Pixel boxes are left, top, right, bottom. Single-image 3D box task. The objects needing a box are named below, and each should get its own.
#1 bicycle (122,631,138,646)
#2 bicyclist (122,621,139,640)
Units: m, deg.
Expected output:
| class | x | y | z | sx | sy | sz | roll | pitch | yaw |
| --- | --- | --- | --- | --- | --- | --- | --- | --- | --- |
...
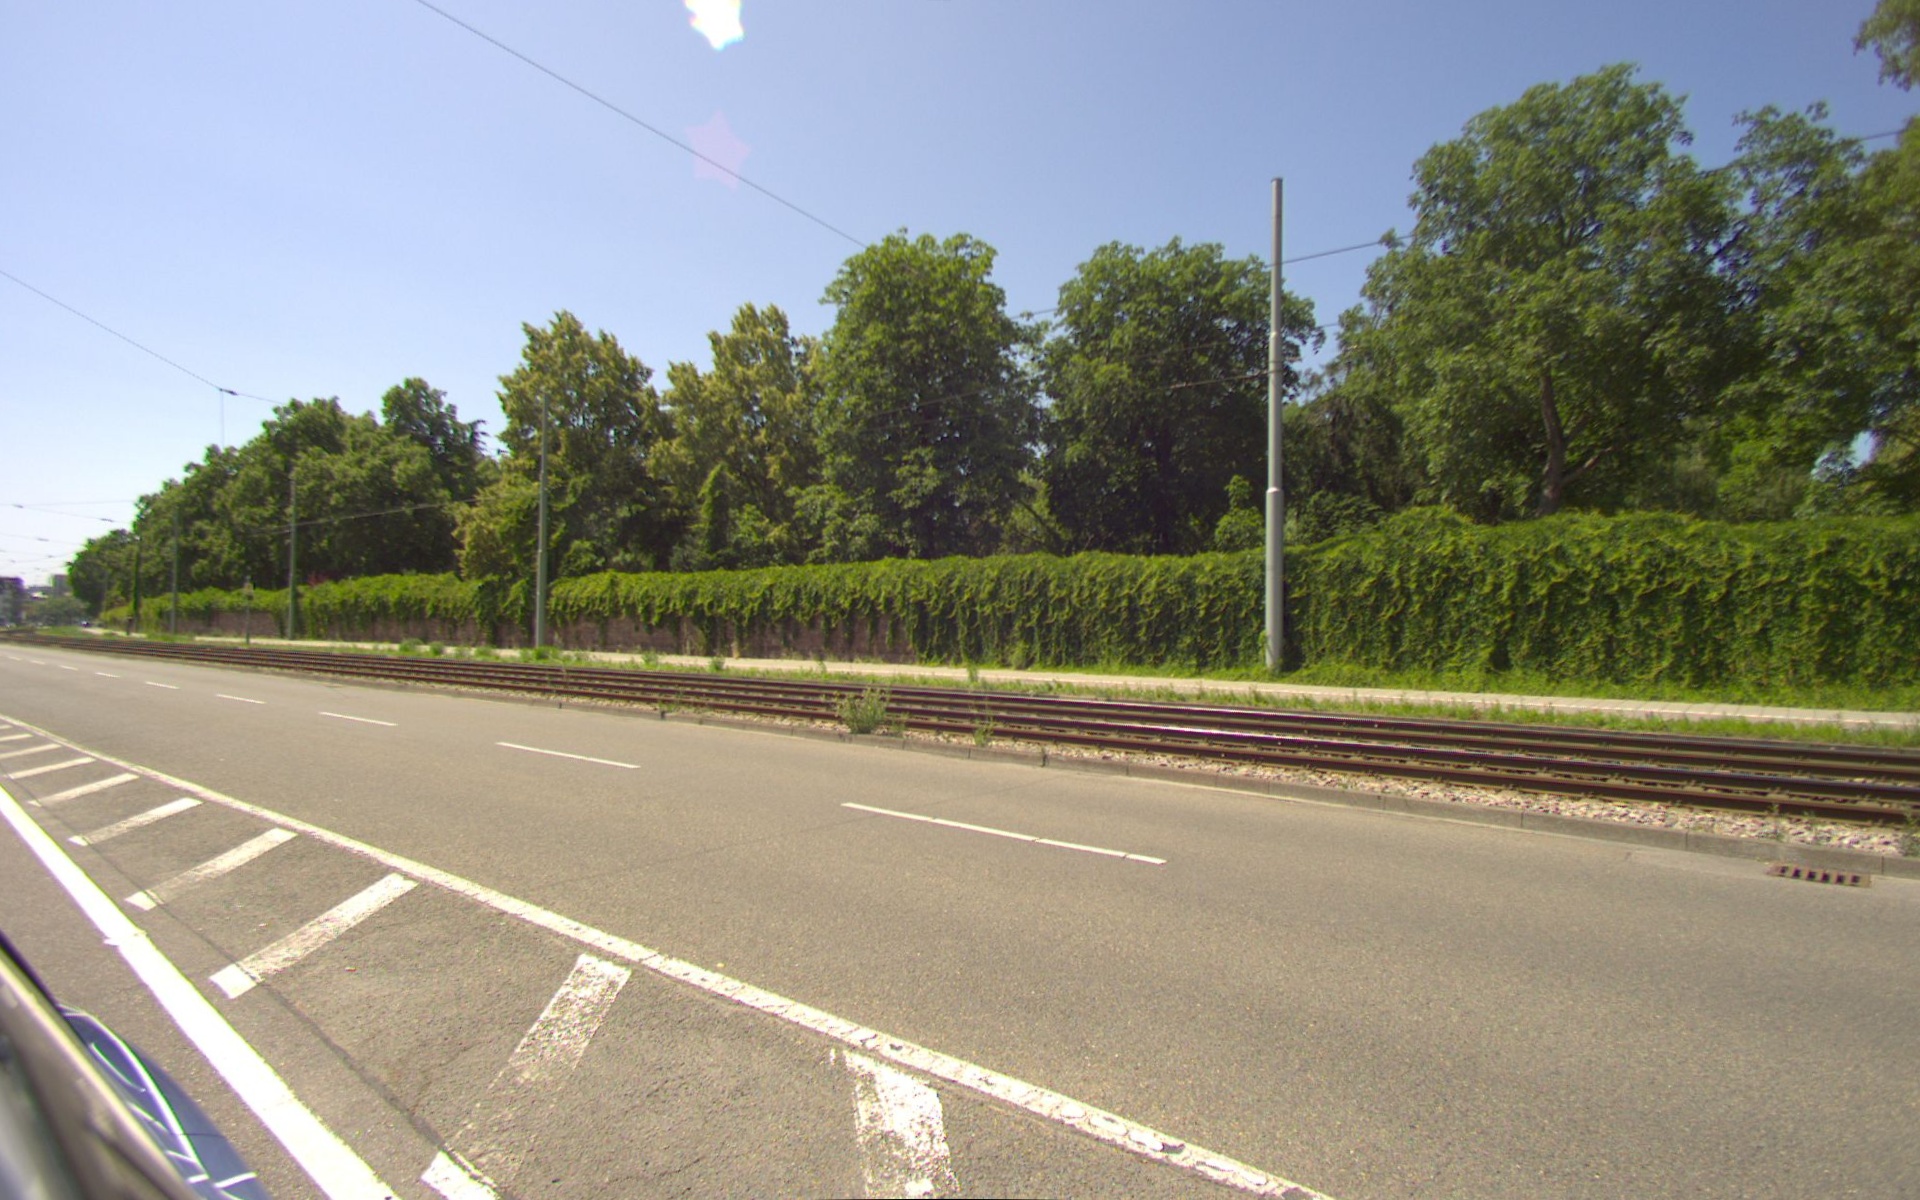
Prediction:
| class | x | y | z | sx | sy | sz | roll | pitch | yaw |
| --- | --- | --- | --- | --- | --- | --- | --- | --- | --- |
| bicycle | -66.922 | 3.102 | 81.584 | 0.818 | 1.165 | 2.688 | 1 | -2 | -43 |
| bicyclist | -66.903 | 2.471 | 81.593 | 0.983 | 1.497 | 1.001 | 1 | -2 | -44 |
